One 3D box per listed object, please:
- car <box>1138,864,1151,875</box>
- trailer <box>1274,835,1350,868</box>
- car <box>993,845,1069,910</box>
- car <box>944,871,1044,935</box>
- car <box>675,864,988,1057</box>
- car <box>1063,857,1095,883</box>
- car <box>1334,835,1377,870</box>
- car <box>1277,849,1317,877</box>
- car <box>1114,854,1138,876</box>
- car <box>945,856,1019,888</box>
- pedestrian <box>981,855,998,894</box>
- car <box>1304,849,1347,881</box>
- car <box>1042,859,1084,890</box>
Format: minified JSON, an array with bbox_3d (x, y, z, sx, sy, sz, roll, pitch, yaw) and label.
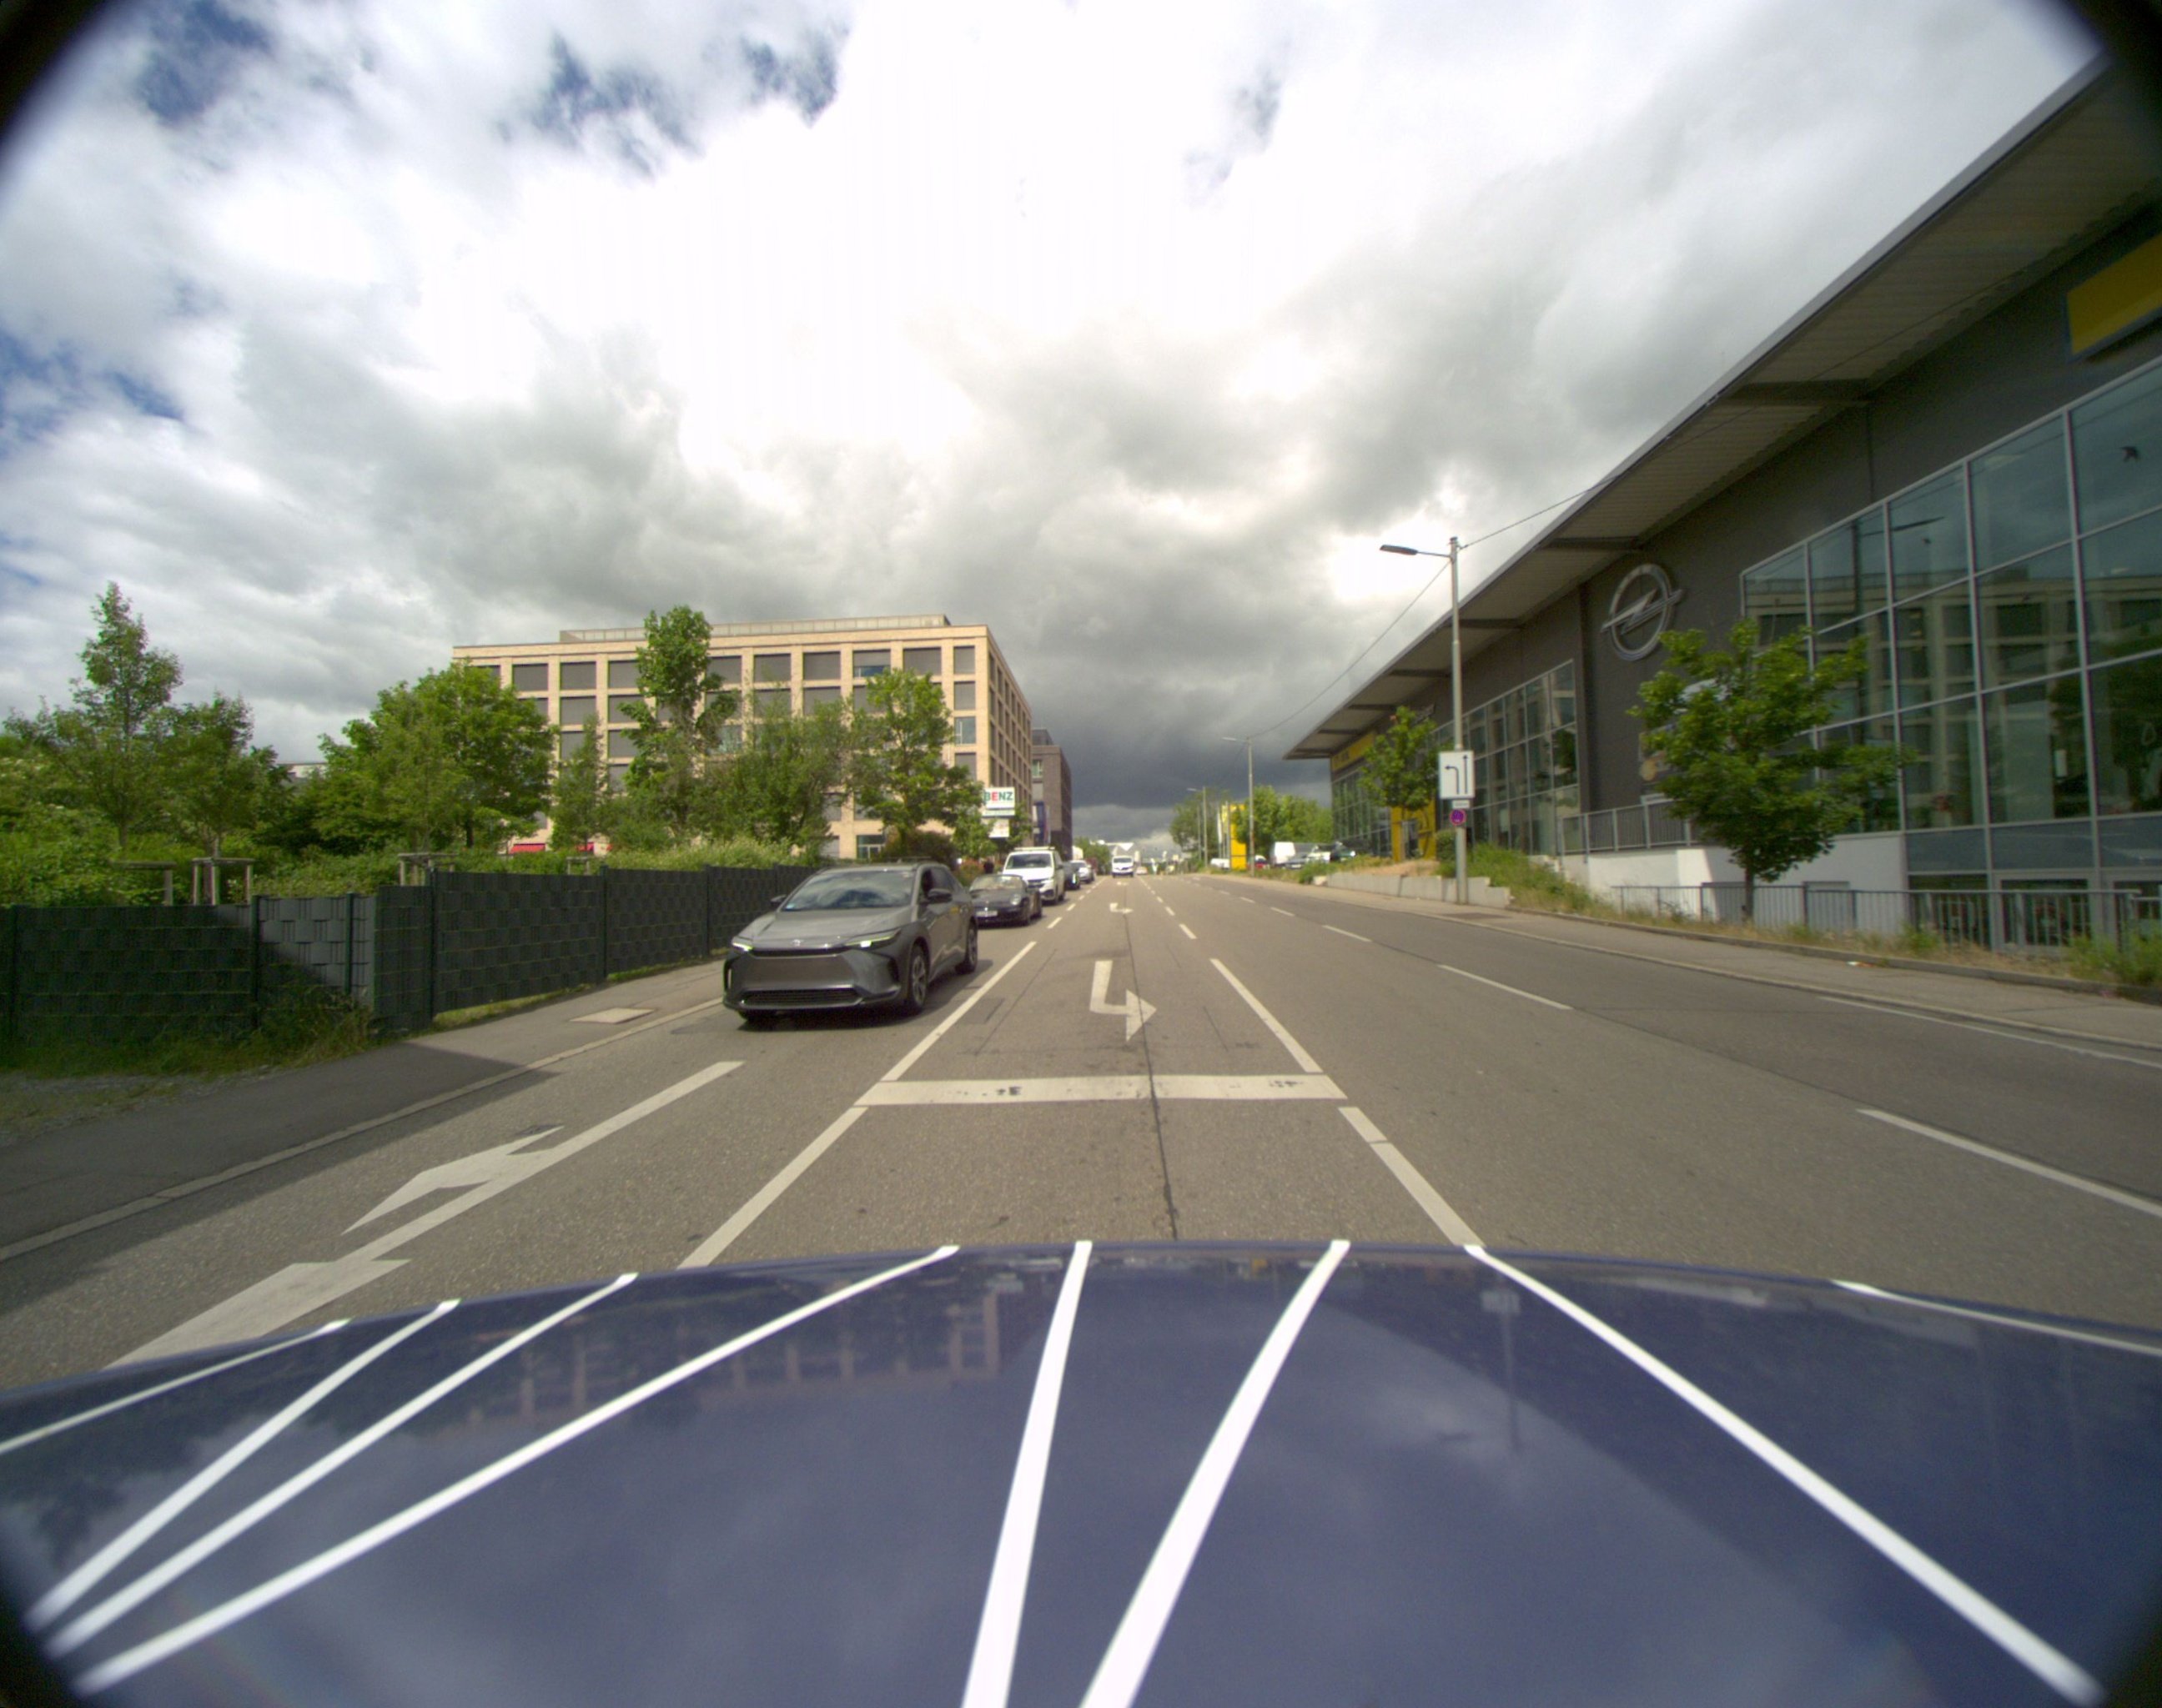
[{"bbox_3d":[10.775,2.571,128.536,1.998,1.731,4.548,-2,0,3],"label":"car"},{"bbox_3d":[17.319,-0.180,57.151,5.073,2.335,2.000,-1,1,2],"label":"trailer"},{"bbox_3d":[-1.682,0.767,27.417,2.088,2.037,4.761,-2,0,3],"label":"car"},{"bbox_3d":[-2.078,1.167,19.313,1.824,1.286,4.039,-2,0,3],"label":"car"},{"bbox_3d":[-2.511,0.981,9.064,1.998,1.619,4.581,-1,0,3],"label":"car"},{"bbox_3d":[-0.090,1.016,50.248,1.818,1.577,4.001,-1,0,3],"label":"car"},{"bbox_3d":[14.347,-0.063,39.645,1.995,1.718,4.006,-1,0,21],"label":"car"},{"bbox_3d":[14.274,0.568,50.059,1.995,1.783,4.006,-1,0,23],"label":"car"},{"bbox_3d":[4.124,0.994,68.854,1.998,1.819,4.548,-2,0,4],"label":"car"},{"bbox_3d":[-5.646,1.003,43.667,3.997,1.723,1.823,-1,0,0],"label":"car"},{"bbox_3d":[-4.093,0.925,34.080,0.602,1.710,0.554,-1,1,3],"label":"pedestrian"},{"bbox_3d":[14.391,0.633,44.579,1.995,1.783,4.006,-1,0,23],"label":"car"},{"bbox_3d":[-0.884,1.025,39.379,1.818,1.454,4.001,-1,0,3],"label":"car"}]
